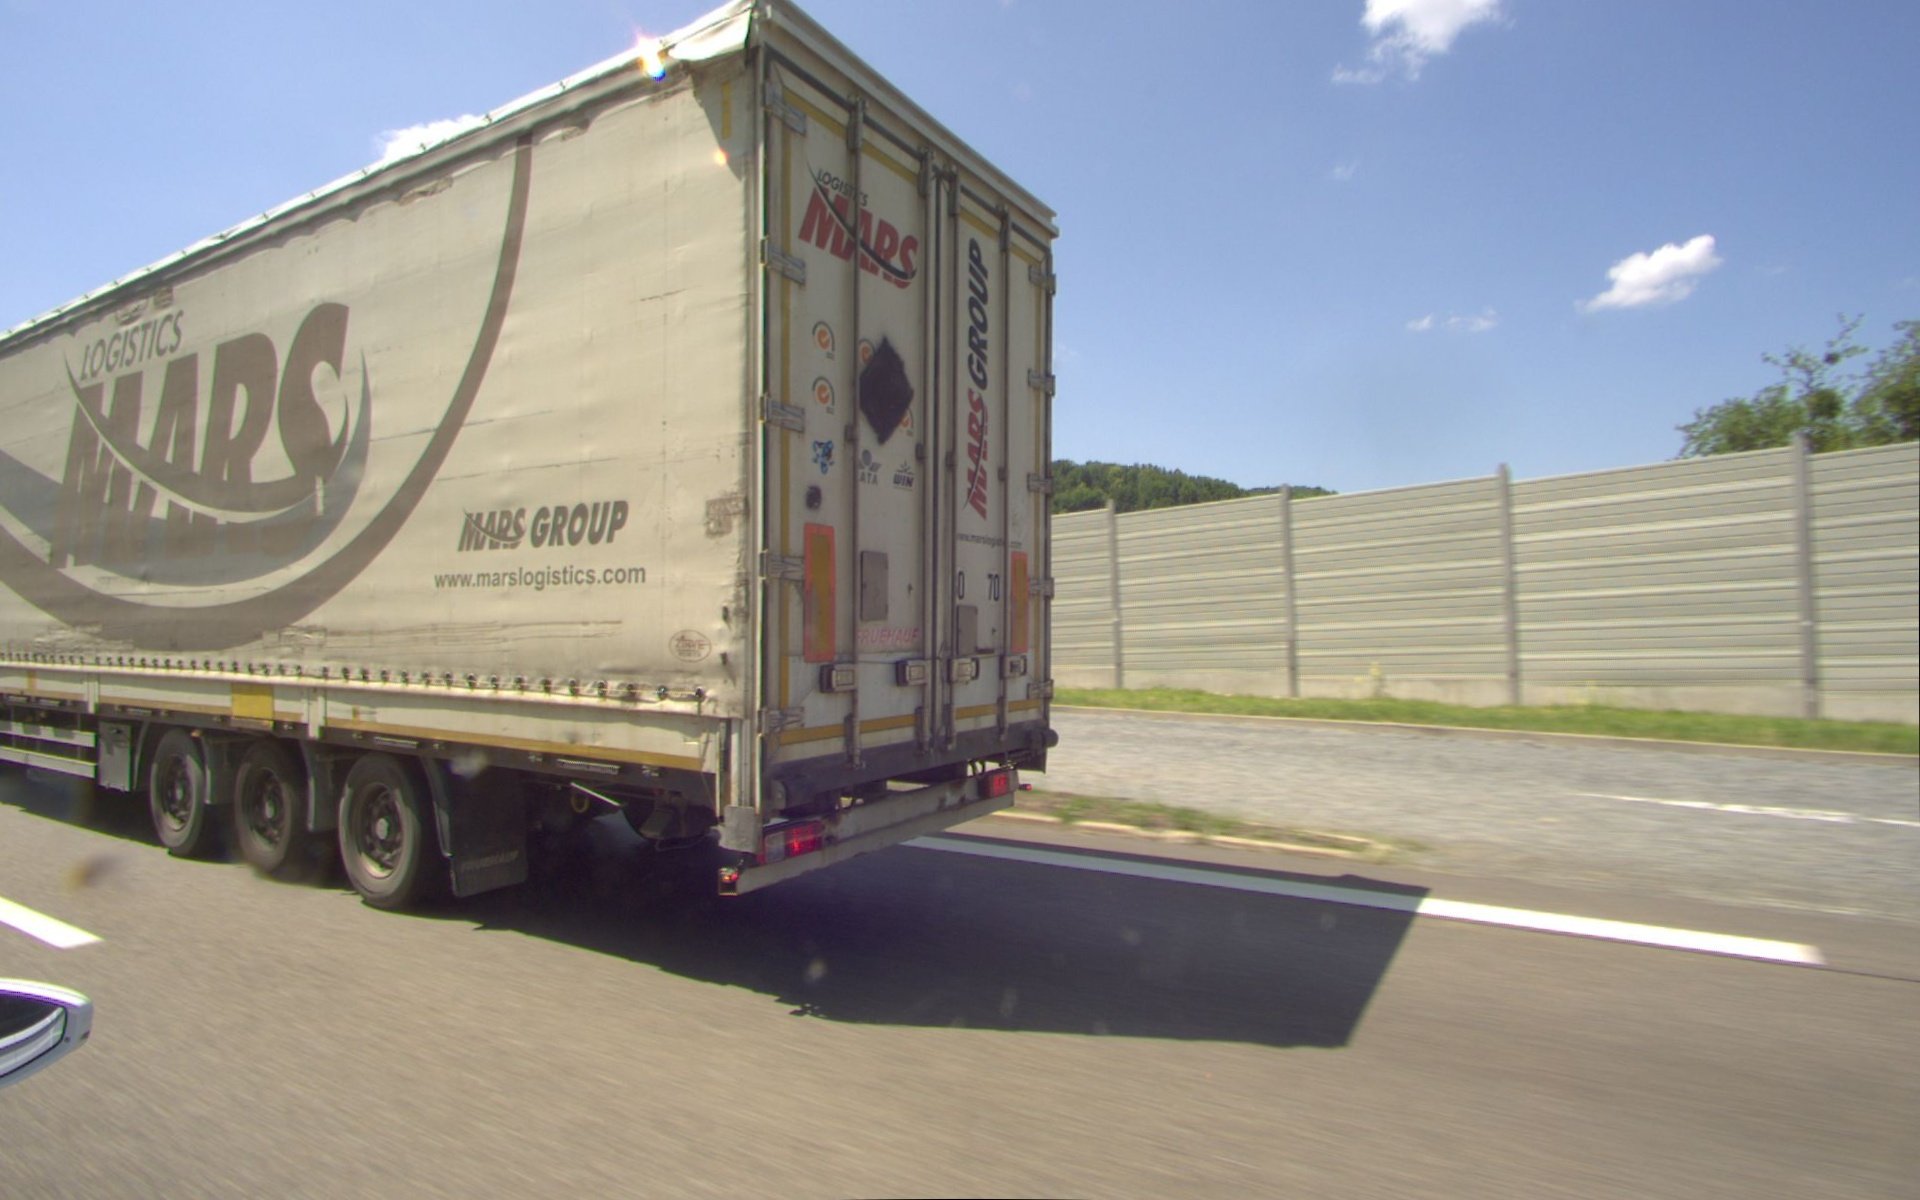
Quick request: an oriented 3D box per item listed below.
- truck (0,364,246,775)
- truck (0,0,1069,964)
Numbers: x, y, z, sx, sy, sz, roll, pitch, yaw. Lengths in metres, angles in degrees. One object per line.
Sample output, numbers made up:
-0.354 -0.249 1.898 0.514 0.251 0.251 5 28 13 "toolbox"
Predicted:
-11.611 -0.172 12.176 5.672 4.117 2.716 -2 -4 32 "truck"
-5.784 -0.404 8.551 13.546 4.117 2.723 -2 -4 32 "truck"
